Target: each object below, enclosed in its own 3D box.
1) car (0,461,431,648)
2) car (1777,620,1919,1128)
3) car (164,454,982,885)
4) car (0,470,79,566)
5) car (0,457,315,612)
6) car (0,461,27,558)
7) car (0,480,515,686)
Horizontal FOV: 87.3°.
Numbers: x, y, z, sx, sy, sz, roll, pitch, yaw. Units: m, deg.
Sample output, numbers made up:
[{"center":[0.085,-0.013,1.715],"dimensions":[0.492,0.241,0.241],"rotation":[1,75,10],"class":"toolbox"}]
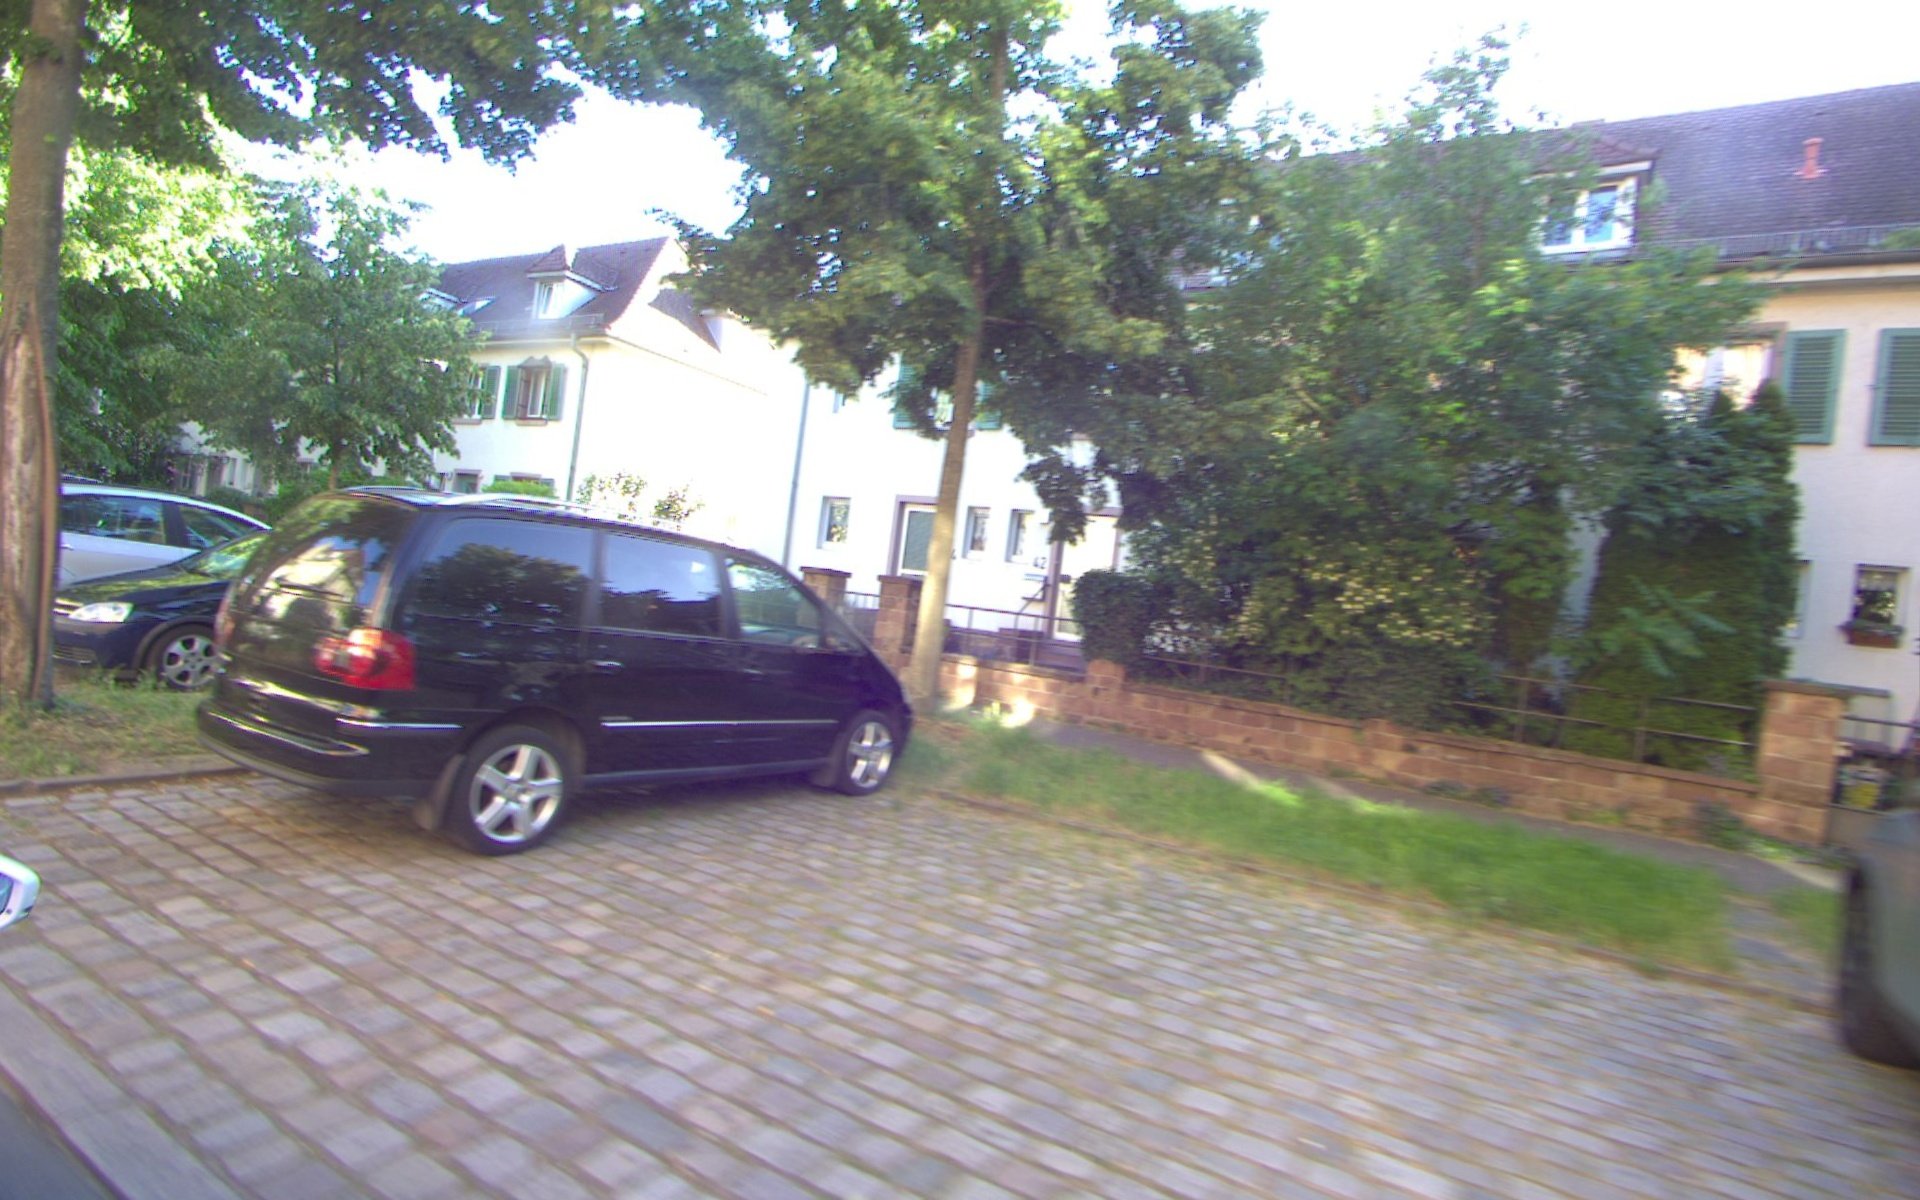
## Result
[{"center":[-8.230,-0.426,10.688],"dimensions":[1.663,1.655,4.270],"rotation":[8,2,35],"class":"car"},{"center":[4.041,0.980,2.862],"dimensions":[1.844,1.655,4.477],"rotation":[7,2,31],"class":"car"},{"center":[-1.944,0.291,6.468],"dimensions":[1.876,1.699,4.580],"rotation":[7,2,33],"class":"car"},{"center":[-17.089,-1.505,16.170],"dimensions":[1.666,1.496,4.068],"rotation":[8,3,32],"class":"car"},{"center":[-10.729,-0.794,12.216],"dimensions":[1.780,1.655,4.544],"rotation":[7,2,26],"class":"car"},{"center":[-19.312,-1.857,17.166],"dimensions":[1.803,1.731,4.621],"rotation":[7,1,33],"class":"car"},{"center":[-6.382,-0.121,9.462],"dimensions":[1.562,1.473,3.722],"rotation":[7,2,31],"class":"car"}]
